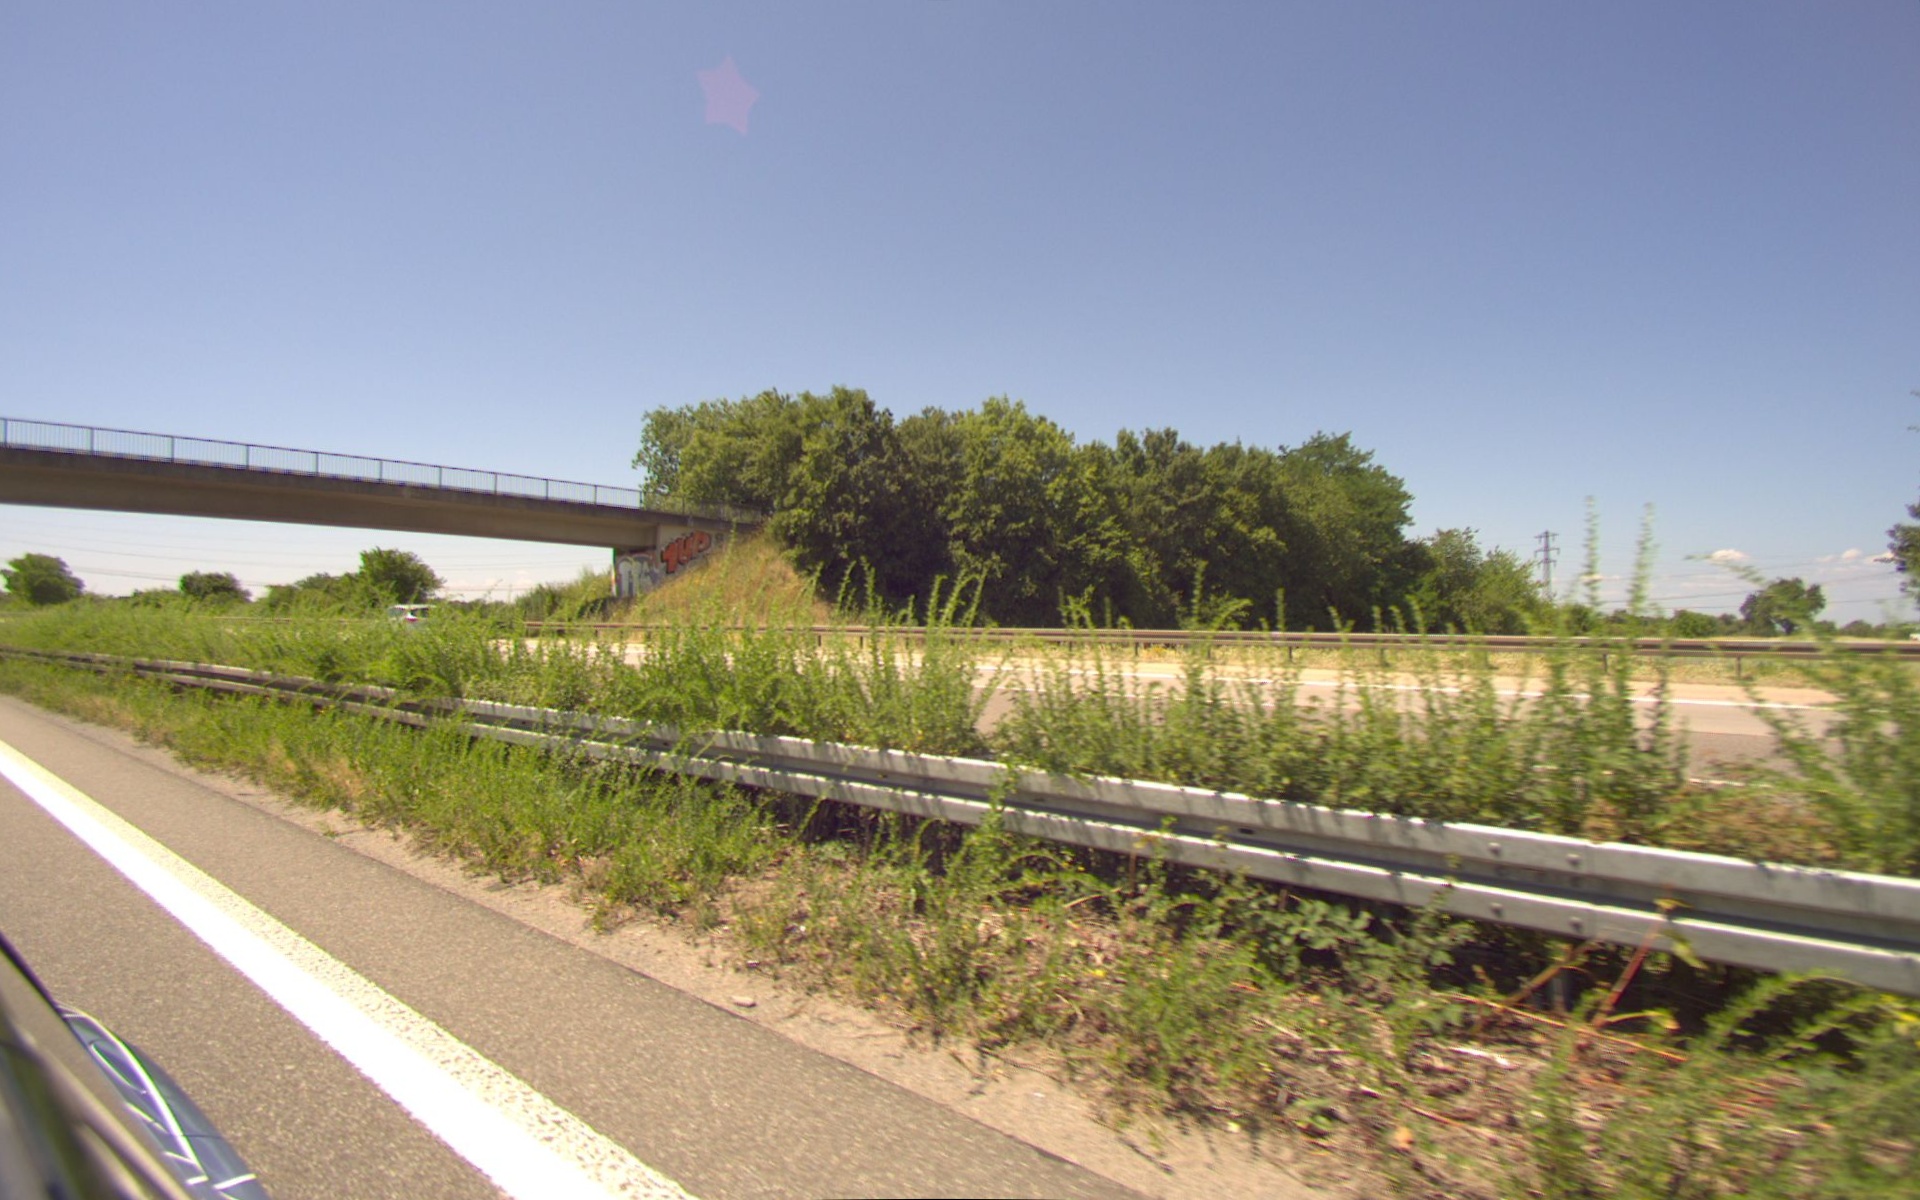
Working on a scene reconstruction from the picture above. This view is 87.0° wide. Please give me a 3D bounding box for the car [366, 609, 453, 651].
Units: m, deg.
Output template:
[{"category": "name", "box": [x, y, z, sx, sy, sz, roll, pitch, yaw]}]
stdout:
[{"category": "car", "box": [-21.980, 1.164, 40.344, 4.403, 1.586, 1.692, -1, -1, 42]}]
